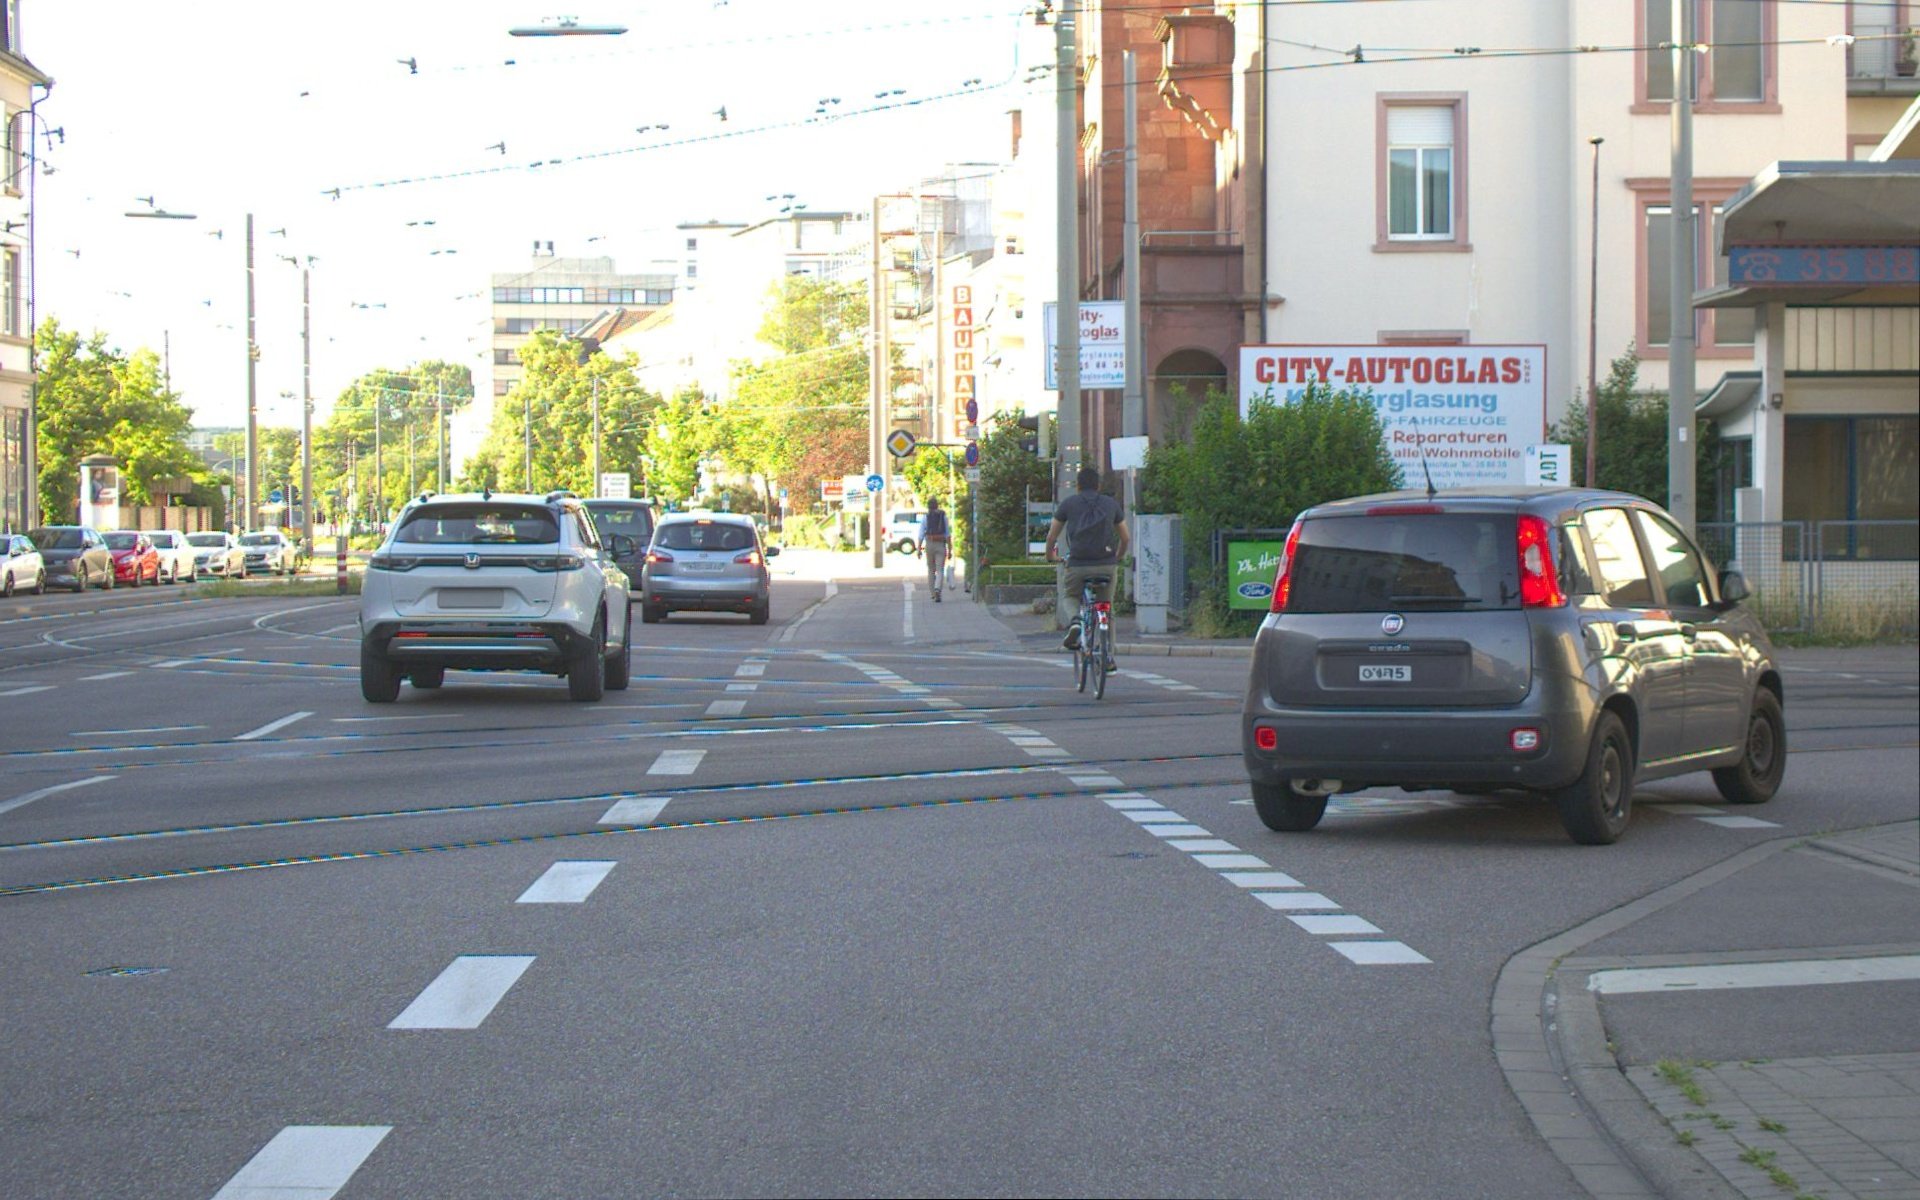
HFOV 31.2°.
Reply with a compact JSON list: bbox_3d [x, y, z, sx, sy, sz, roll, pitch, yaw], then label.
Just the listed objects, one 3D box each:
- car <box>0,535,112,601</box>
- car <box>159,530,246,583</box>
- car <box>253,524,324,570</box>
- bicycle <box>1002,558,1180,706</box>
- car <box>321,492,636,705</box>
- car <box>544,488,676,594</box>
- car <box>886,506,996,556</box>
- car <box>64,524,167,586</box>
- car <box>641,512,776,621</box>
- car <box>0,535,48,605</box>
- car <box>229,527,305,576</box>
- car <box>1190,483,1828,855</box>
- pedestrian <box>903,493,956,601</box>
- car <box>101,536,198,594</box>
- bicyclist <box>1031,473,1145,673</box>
[{"bbox_3d":[-21.845,-0.793,83.147,1.719,1.546,4.000,0,1,-1],"label":"car"},{"bbox_3d":[-22.479,-1.313,102.110,1.719,1.546,4.000,0,1,0],"label":"car"},{"bbox_3d":[-23.218,-1.846,118.973,1.719,1.546,4.000,0,1,-1],"label":"car"},{"bbox_3d":[0.987,0.227,26.479,0.770,1.082,1.871,0,1,-18],"label":"bicycle"},{"bbox_3d":[-3.660,-0.061,26.823,1.947,1.523,4.090,0,1,-1],"label":"car"},{"bbox_3d":[-6.849,-1.171,67.721,2.172,2.002,4.808,0,1,-1],"label":"car"},{"bbox_3d":[-0.808,-2.851,141.823,4.257,2.007,2.001,0,1,-9],"label":"car"},{"bbox_3d":[-21.858,-1.179,89.102,1.719,1.546,4.000,0,1,-1],"label":"car"},{"bbox_3d":[-3.748,-0.517,51.698,1.814,1.576,4.000,0,1,-1],"label":"car"},{"bbox_3d":[-22.086,-0.697,78.070,1.719,1.546,4.000,0,1,-1],"label":"car"},{"bbox_3d":[-22.736,-1.611,112.966,1.719,1.546,4.000,0,1,-1],"label":"car"},{"bbox_3d":[2.682,0.231,16.017,1.734,1.495,3.994,1,1,28],"label":"car"},{"bbox_3d":[-0.513,-0.899,58.546,0.875,1.818,1.184,0,1,0],"label":"pedestrian"},{"bbox_3d":[-22.105,-0.975,93.849,1.719,1.546,4.000,0,1,-1],"label":"car"},{"bbox_3d":[0.983,-0.213,26.630,0.834,1.520,0.994,0,1,-1],"label":"bicyclist"}]
